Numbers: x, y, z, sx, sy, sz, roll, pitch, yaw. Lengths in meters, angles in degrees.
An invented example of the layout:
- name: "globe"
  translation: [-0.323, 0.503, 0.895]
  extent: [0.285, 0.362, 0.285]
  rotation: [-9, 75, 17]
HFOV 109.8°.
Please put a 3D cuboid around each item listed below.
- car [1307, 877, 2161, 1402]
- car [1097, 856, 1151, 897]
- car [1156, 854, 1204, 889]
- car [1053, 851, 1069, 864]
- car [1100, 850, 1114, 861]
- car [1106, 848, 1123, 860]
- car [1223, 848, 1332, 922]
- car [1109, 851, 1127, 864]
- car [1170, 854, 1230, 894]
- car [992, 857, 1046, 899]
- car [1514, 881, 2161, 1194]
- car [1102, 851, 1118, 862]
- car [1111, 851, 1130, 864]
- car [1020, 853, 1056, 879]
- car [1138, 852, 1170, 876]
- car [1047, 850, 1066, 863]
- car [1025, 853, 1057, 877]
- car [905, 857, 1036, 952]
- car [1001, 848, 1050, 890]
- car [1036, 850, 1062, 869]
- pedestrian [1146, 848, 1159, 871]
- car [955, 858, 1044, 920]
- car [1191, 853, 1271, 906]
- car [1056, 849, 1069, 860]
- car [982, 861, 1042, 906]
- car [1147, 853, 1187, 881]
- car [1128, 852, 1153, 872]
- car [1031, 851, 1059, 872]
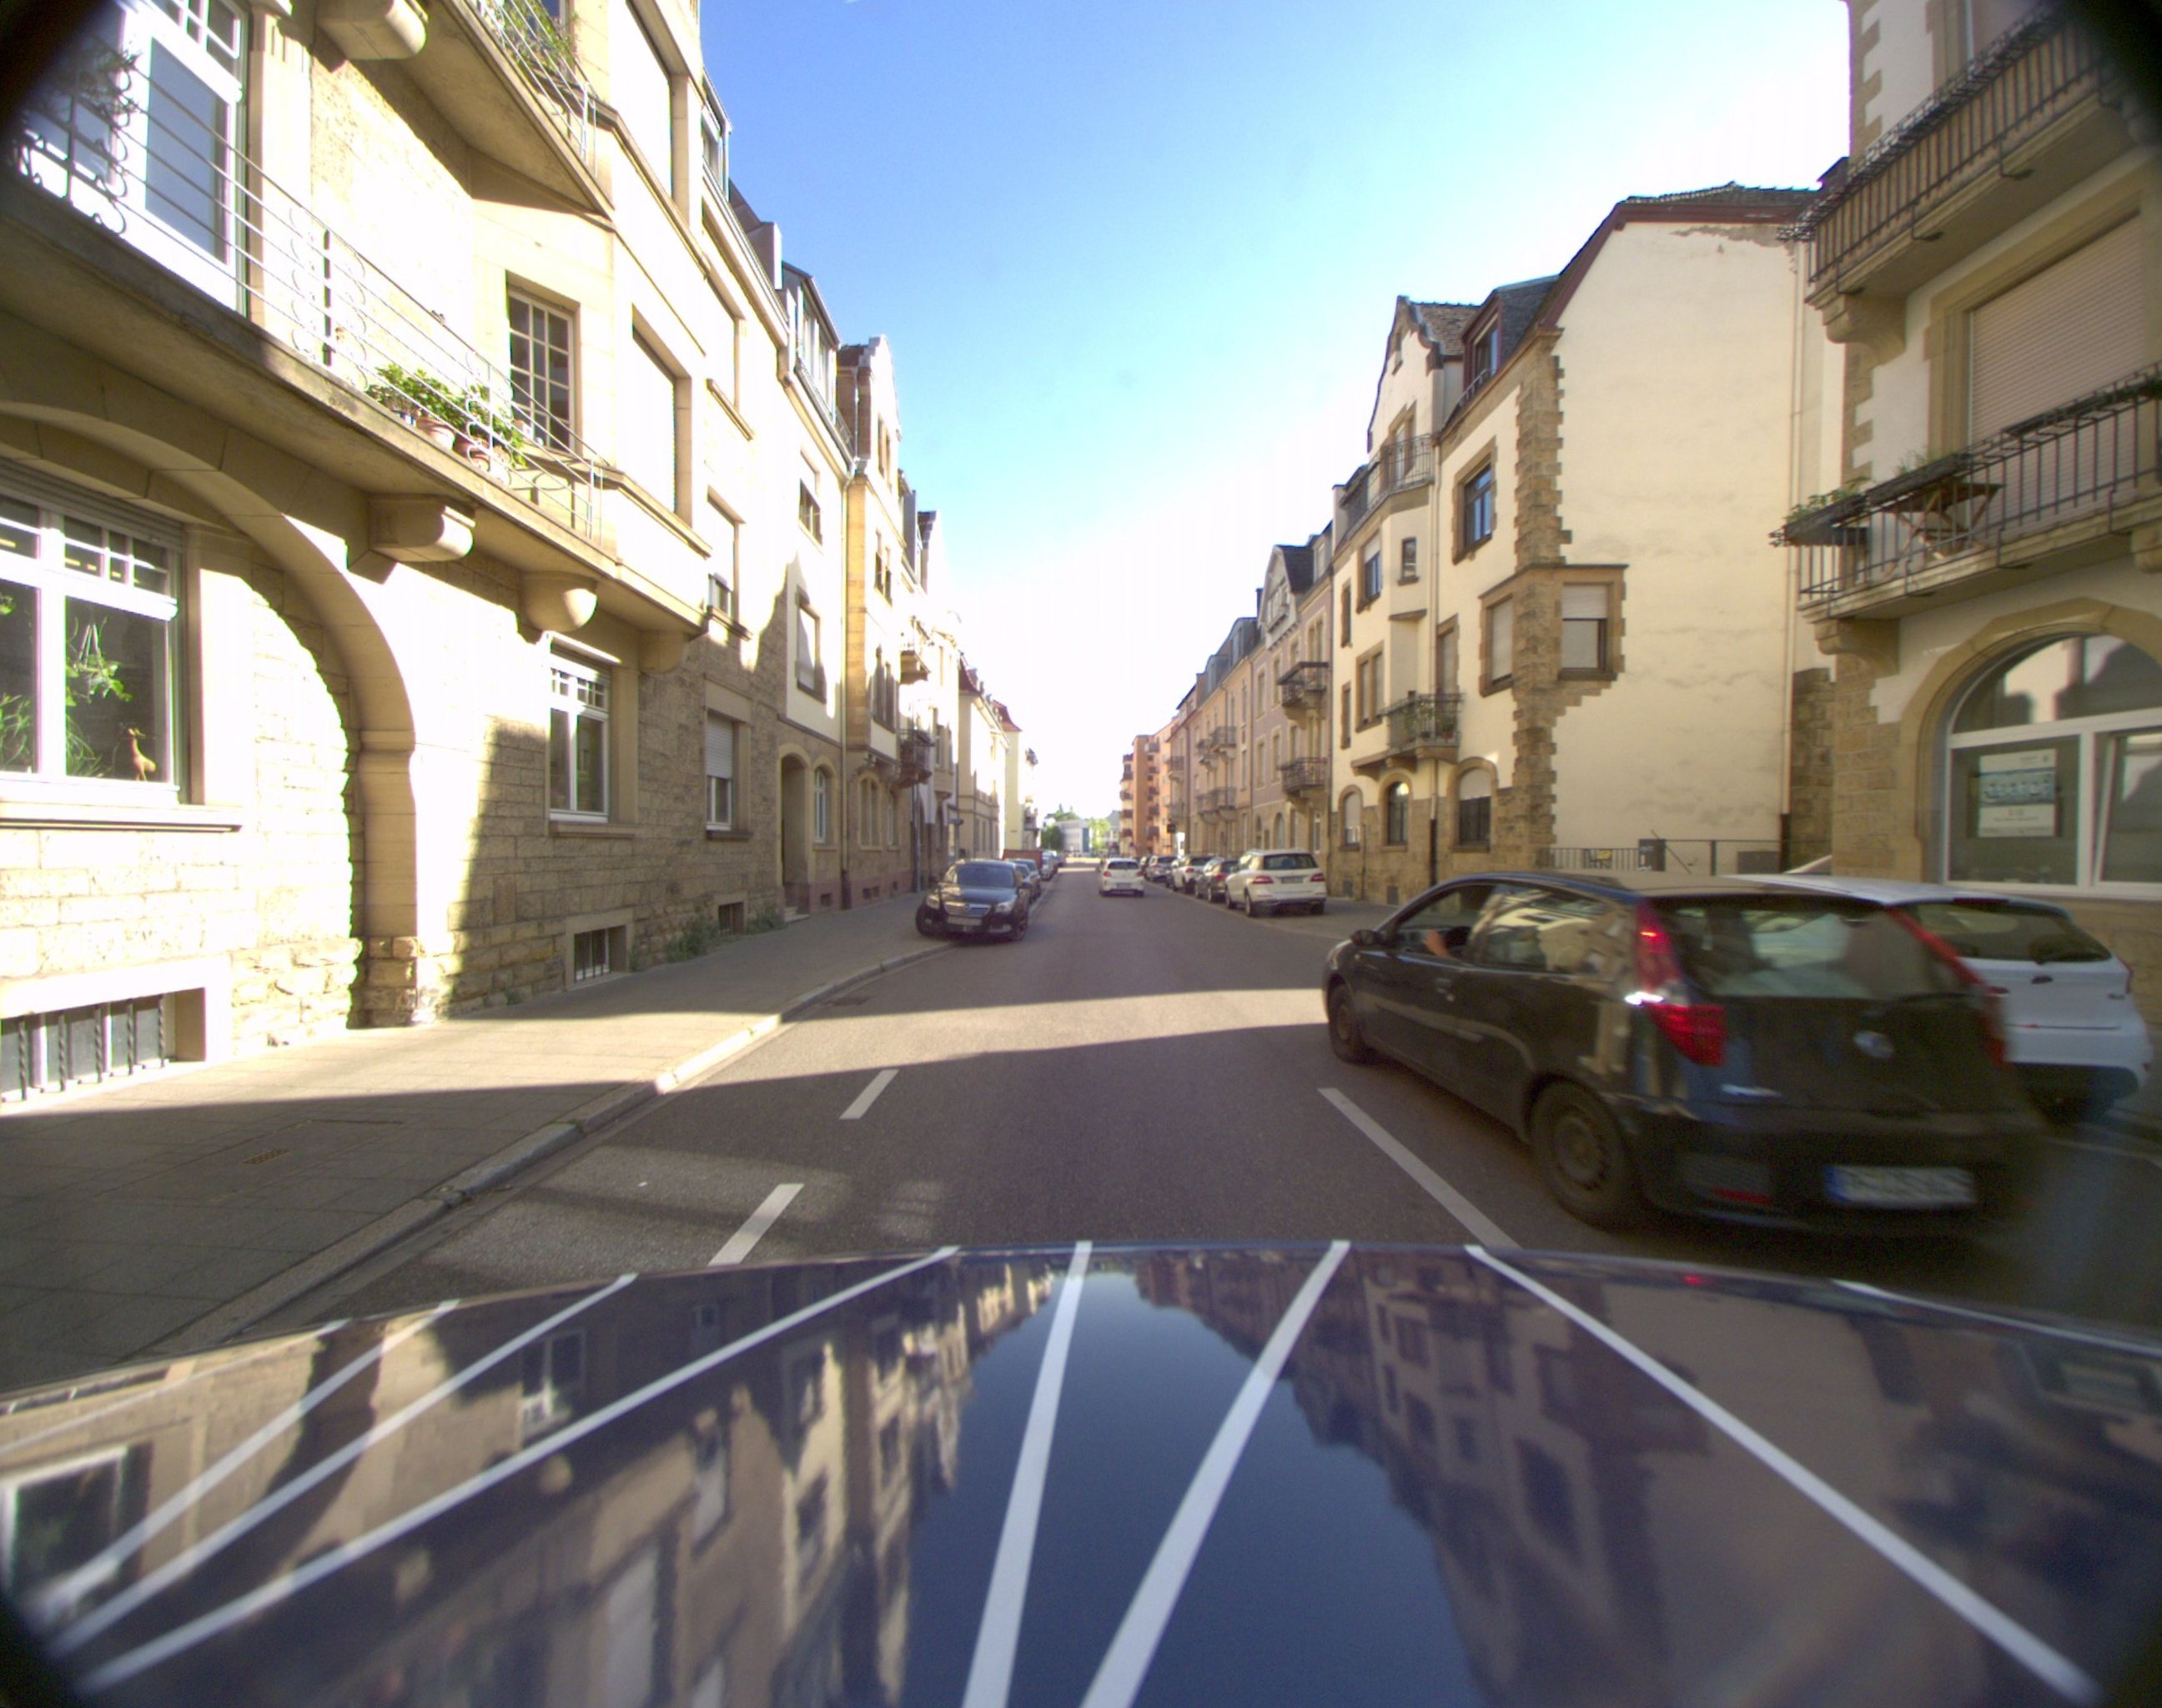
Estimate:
- name: "car"
  translation: [2.675, 0.928, 4.165]
  extent: [1.656, 1.449, 3.642]
  rotation: [0, 1, -3]
- name: "car"
  translation: [1.641, 0.835, 30.069]
  extent: [1.703, 1.474, 3.533]
  rotation: [1, 0, -4]
- name: "car"
  translation: [4.856, 0.819, 37.799]
  extent: [1.857, 1.491, 4.318]
  rotation: [-2, 1, 1]
- name: "car"
  translation: [-2.583, 0.438, 99.945]
  extent: [2.005, 1.500, 4.320]
  rotation: [1, 1, -1]
- name: "car"
  translation: [3.959, 0.194, 116.752]
  extent: [2.005, 1.500, 4.320]
  rotation: [1, 1, -1]
- name: "car"
  translation: [4.495, 0.010, 101.987]
  extent: [2.005, 1.500, 4.320]
  rotation: [1, 1, -1]
- name: "car"
  translation: [5.196, 0.753, 20.701]
  extent: [1.890, 1.717, 4.211]
  rotation: [-2, 1, 1]
- name: "car"
  translation: [4.623, 0.398, 96.198]
  extent: [2.005, 1.500, 4.320]
  rotation: [1, 1, -1]
- name: "car"
  translation: [4.985, 0.797, 32.358]
  extent: [1.890, 1.500, 4.320]
  rotation: [-2, 1, 1]
- name: "car"
  translation: [-2.384, 0.893, 30.113]
  extent: [1.824, 1.415, 4.320]
  rotation: [1, 1, -1]
- name: "car"
  translation: [5.114, 1.015, 5.733]
  extent: [1.656, 1.449, 3.643]
  rotation: [2, 0, 2]
- name: "car"
  translation: [4.112, 0.294, 107.244]
  extent: [2.005, 1.500, 4.320]
  rotation: [1, 1, -1]
- name: "car"
  translation: [4.673, 0.414, 91.384]
  extent: [2.005, 1.500, 4.320]
  rotation: [1, 1, -1]
- name: "car"
  translation: [-2.652, 0.721, 47.860]
  extent: [2.005, 1.500, 4.320]
  rotation: [1, 1, -1]
- name: "car"
  translation: [4.992, 0.672, 52.343]
  extent: [1.809, 1.500, 4.003]
  rotation: [-2, 1, 1]
- name: "car"
  translation: [-2.844, 0.272, 88.971]
  extent: [2.005, 1.500, 4.320]
  rotation: [1, 1, -1]
- name: "car"
  translation: [-2.748, 0.741, 52.633]
  extent: [2.005, 1.500, 4.320]
  rotation: [1, 1, -1]
- name: "car"
  translation: [-2.036, 0.883, 15.211]
  extent: [2.024, 1.500, 4.111]
  rotation: [2, 1, -1]
- name: "car"
  translation: [-2.559, 0.653, 35.802]
  extent: [2.005, 1.828, 4.320]
  rotation: [1, 1, -1]
- name: "car"
  translation: [-2.672, 0.457, 64.492]
  extent: [2.005, 1.500, 4.320]
  rotation: [1, 1, -1]
- name: "pedestrian"
  translation: [6.290, 0.449, 67.063]
  extent: [0.952, 2.002, 1.066]
  rotation: [-2, 1, 1]
- name: "car"
  translation: [-2.096, 0.876, 20.792]
  extent: [2.005, 1.499, 4.321]
  rotation: [1, 0, -1]
- name: "car"
  translation: [5.123, 0.822, 26.537]
  extent: [1.890, 1.500, 4.320]
  rotation: [-4, 1, 1]
- name: "car"
  translation: [-2.941, 0.077, 123.329]
  extent: [2.005, 1.722, 4.320]
  rotation: [1, 1, -1]
- name: "car"
  translation: [-2.233, 0.929, 25.371]
  extent: [1.661, 1.272, 3.729]
  rotation: [1, 1, -1]
- name: "car"
  translation: [5.122, 0.732, 45.824]
  extent: [1.890, 1.500, 4.320]
  rotation: [-2, 1, 1]
- name: "car"
  translation: [4.893, 0.645, 62.966]
  extent: [1.793, 1.500, 4.320]
  rotation: [-2, 1, 1]
- name: "car"
  translation: [-2.744, 0.540, 58.658]
  extent: [2.005, 1.500, 4.320]
  rotation: [1, 1, -1]
